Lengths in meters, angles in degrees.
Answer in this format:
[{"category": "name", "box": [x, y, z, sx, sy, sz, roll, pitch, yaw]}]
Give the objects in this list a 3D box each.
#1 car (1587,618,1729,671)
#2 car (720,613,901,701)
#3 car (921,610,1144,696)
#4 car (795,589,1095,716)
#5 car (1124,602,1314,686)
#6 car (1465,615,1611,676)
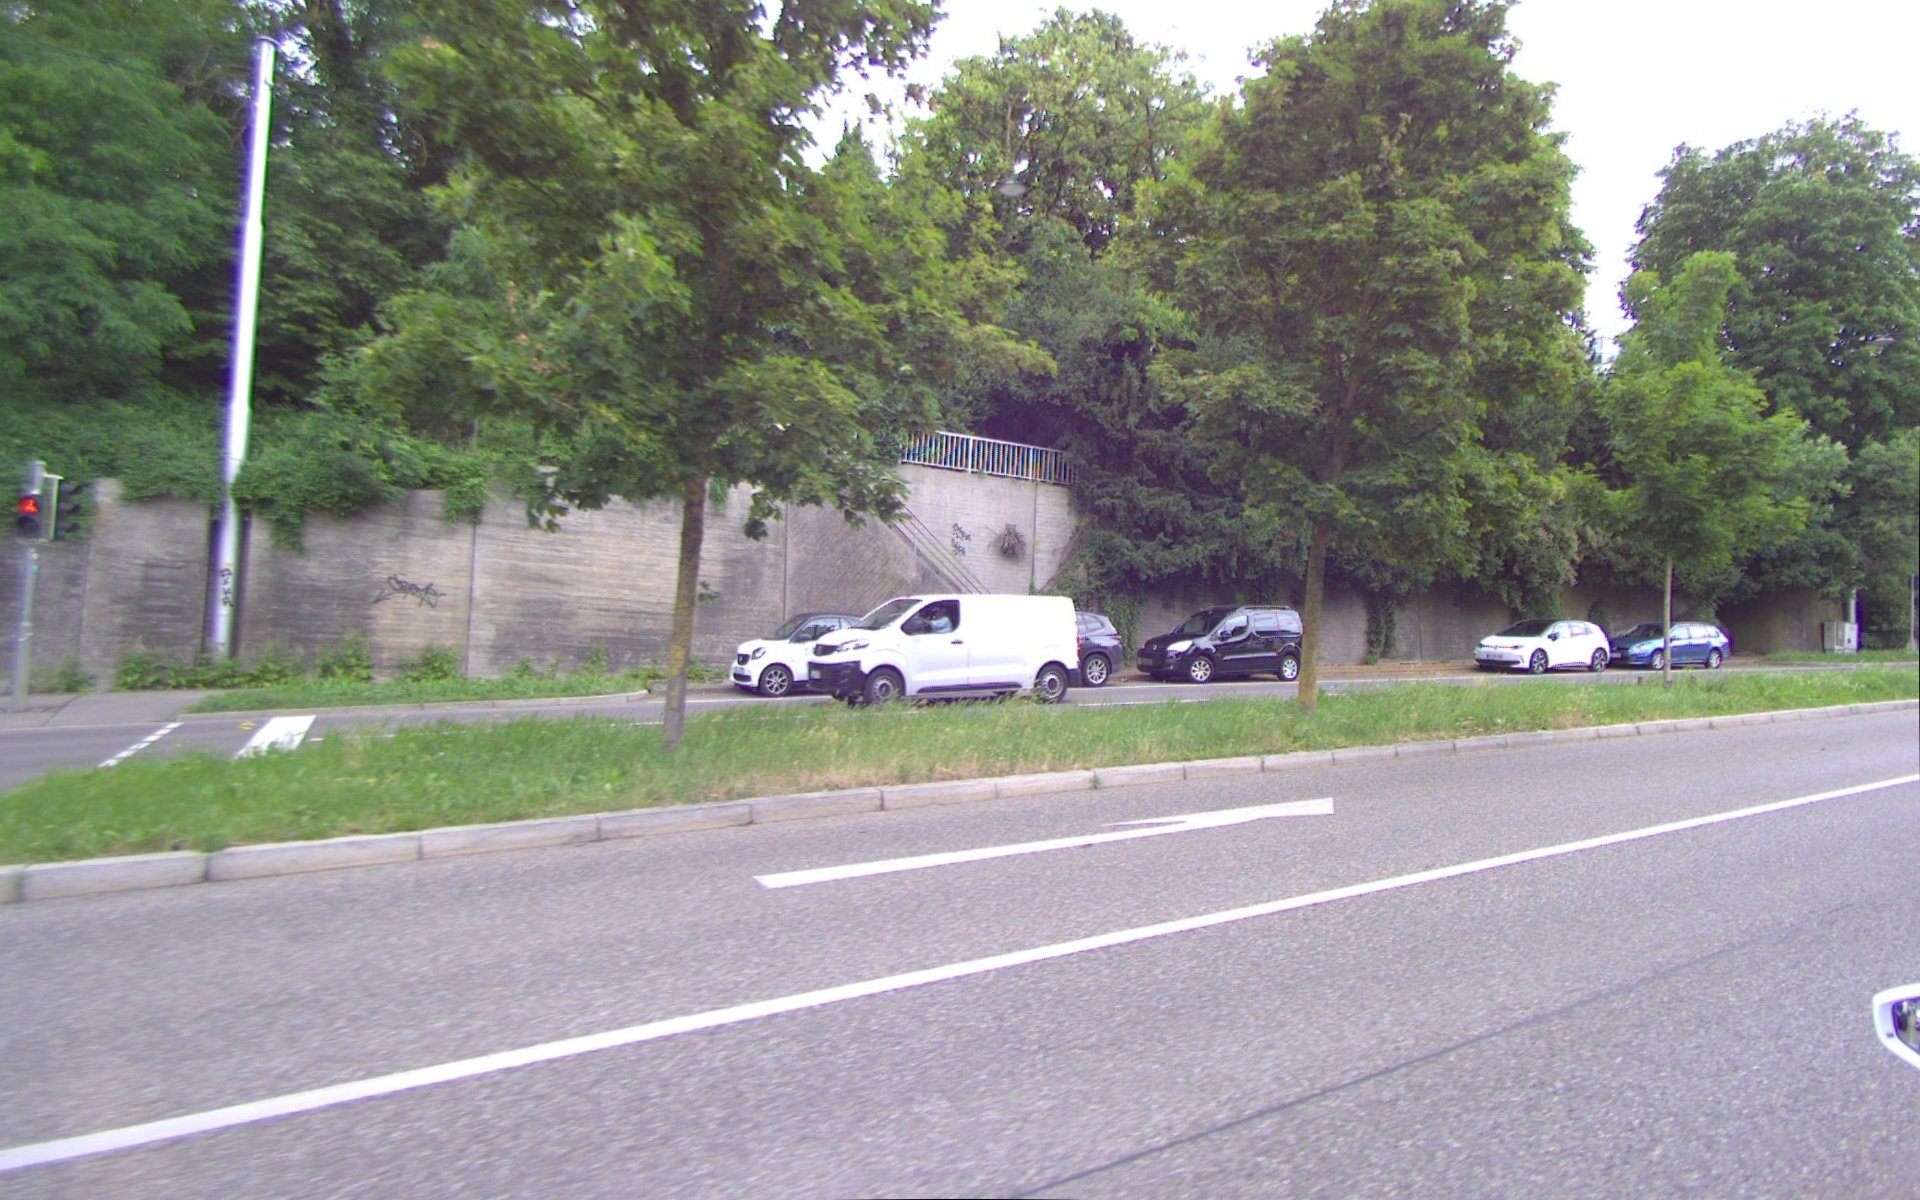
[{"category": "car", "box": [22.161, 1.364, 31.893, 4.239, 1.549, 1.708, 0, 0, -23]}, {"category": "car", "box": [-2.918, 1.044, 19.593, 3.062, 1.518, 1.770, 0, 0, -31]}, {"category": "car", "box": [1.587, 1.097, 21.841, 4.473, 1.679, 1.963, 1, 0, -27]}, {"category": "car", "box": [-0.217, 0.844, 17.682, 4.958, 1.984, 1.931, 1, 0, -28]}, {"category": "car", "box": [6.303, 1.002, 24.360, 4.431, 1.867, 1.773, 0, 0, -28]}, {"category": "car", "box": [17.155, 1.287, 29.790, 4.115, 1.650, 1.774, 0, 0, -26]}]
